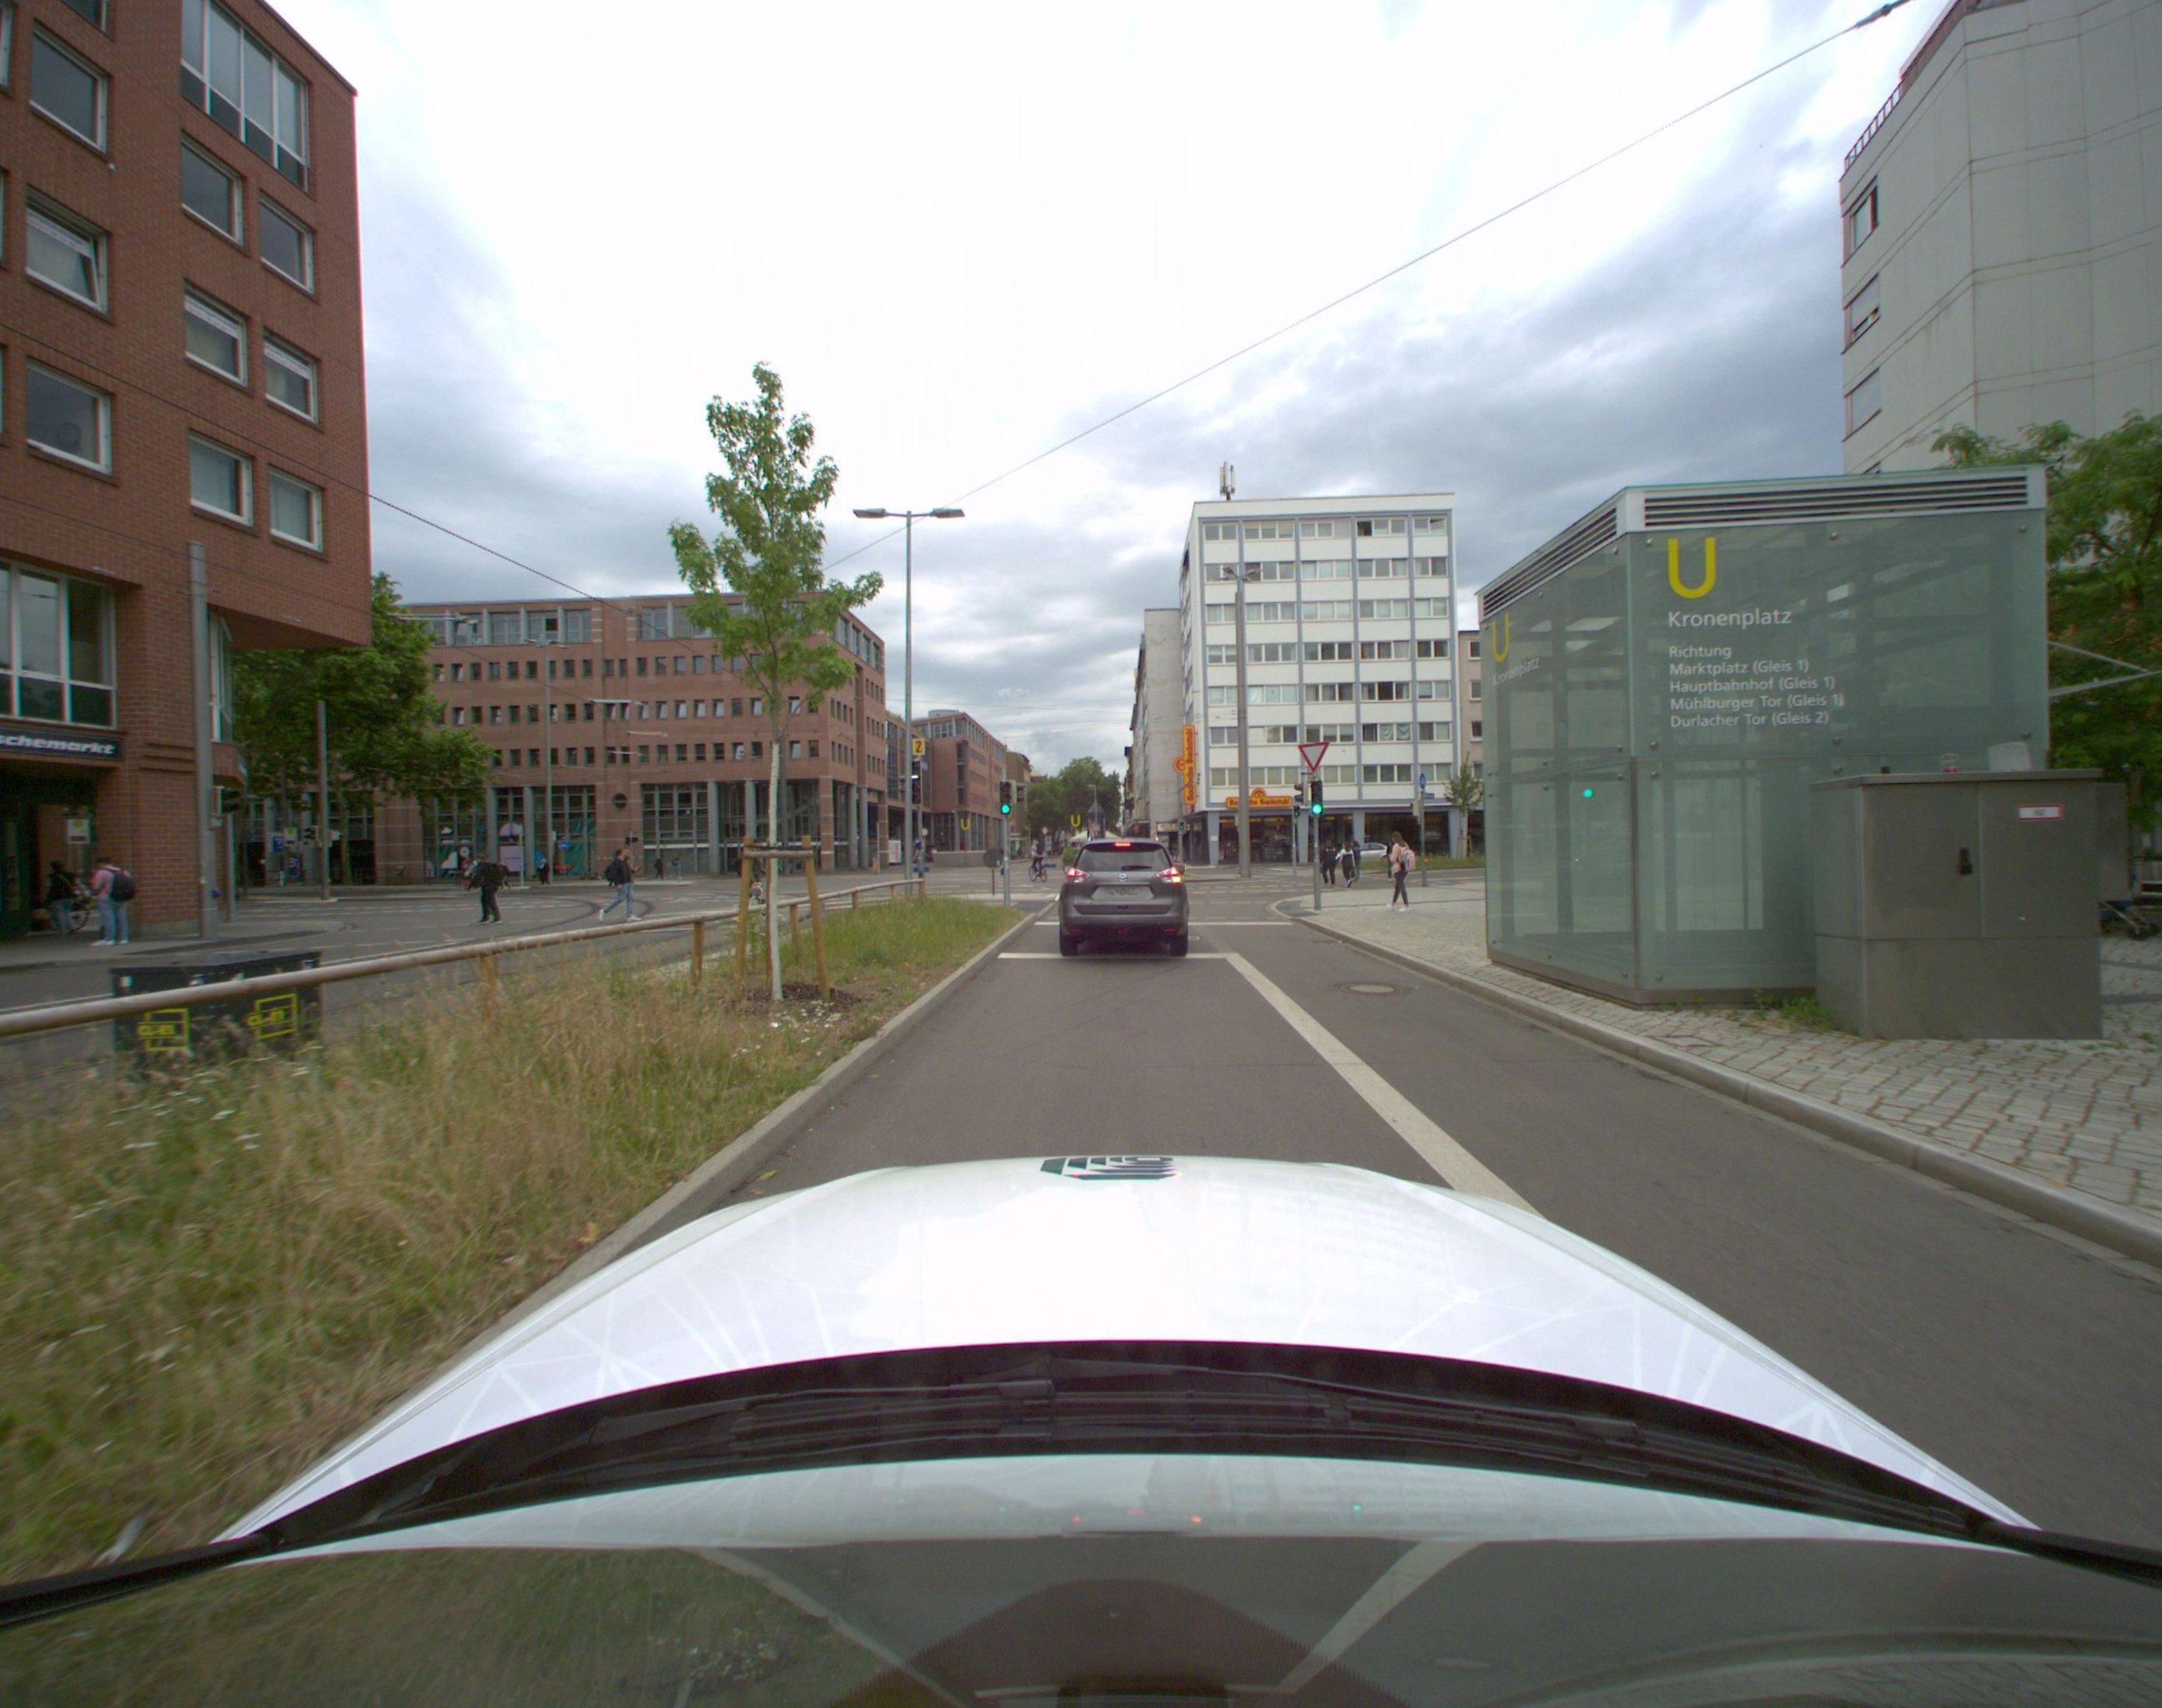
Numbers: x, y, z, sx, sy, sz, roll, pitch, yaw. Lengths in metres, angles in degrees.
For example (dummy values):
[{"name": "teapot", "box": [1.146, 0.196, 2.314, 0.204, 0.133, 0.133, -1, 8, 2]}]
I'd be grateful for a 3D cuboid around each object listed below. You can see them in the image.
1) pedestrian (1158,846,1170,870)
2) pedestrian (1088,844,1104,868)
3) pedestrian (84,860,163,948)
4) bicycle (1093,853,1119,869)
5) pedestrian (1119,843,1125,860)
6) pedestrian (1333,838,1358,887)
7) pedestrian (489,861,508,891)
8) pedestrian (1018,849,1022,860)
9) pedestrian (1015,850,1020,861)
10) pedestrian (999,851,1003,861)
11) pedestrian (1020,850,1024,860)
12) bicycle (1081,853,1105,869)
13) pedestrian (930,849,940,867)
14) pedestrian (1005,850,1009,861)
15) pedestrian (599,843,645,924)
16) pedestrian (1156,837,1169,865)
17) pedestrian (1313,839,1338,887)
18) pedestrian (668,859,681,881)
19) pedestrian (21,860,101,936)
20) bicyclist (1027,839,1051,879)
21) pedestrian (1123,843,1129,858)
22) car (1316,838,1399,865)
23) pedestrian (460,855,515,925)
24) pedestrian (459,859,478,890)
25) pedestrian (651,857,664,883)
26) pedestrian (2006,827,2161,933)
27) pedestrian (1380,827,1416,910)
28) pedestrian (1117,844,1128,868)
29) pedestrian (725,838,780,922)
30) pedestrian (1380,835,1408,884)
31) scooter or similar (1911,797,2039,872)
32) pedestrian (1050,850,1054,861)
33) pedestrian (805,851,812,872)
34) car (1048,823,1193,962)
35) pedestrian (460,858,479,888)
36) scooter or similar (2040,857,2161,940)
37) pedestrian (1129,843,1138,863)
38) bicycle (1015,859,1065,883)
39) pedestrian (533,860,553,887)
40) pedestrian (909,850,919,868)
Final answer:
[{"name": "pedestrian", "box": [5.968, 0.270, 58.455, 0.705, 1.705, 0.737, 0, 0, 14]}, {"name": "pedestrian", "box": [1.088, 0.167, 58.661, 0.918, 1.705, 0.738, 0, 0, 22]}, {"name": "pedestrian", "box": [-18.756, 0.963, 15.972, 0.567, 1.684, 0.798, 0, -1, -2]}, {"name": "bicycle", "box": [1.836, 0.542, 60.080, 1.868, 1.171, 0.529, 0, 0, -12]}, {"name": "pedestrian", "box": [4.190, -0.280, 82.742, 0.640, 1.705, 0.559, 0, 0, 3]}, {"name": "pedestrian", "box": [9.763, 0.309, 30.114, 0.620, 1.761, 0.778, 0, 0, -5]}, {"name": "pedestrian", "box": [-31.144, 1.155, 43.534, 0.571, 1.574, 0.629, 0, -1, -5]}, {"name": "pedestrian", "box": [-8.814, 0.078, 118.225, 0.599, 1.714, 0.654, 0, 0, -5]}, {"name": "pedestrian", "box": [-9.467, 0.238, 121.348, 0.599, 1.714, 0.654, 0, 0, -5]}, {"name": "pedestrian", "box": [-12.571, 0.321, 128.672, 0.599, 1.714, 0.654, 0, 0, -5]}, {"name": "pedestrian", "box": [-9.546, 0.145, 131.688, 0.599, 1.714, 0.654, 0, 0, -5]}, {"name": "bicycle", "box": [0.886, 0.518, 60.497, 1.695, 1.171, 0.436, 0, 0, -9]}, {"name": "pedestrian", "box": [-15.387, 0.394, 85.826, 0.694, 1.841, 0.738, 0, 0, 22]}, {"name": "pedestrian", "box": [-11.733, 0.212, 128.684, 0.599, 1.714, 0.654, 0, 0, -5]}, {"name": "pedestrian", "box": [-10.935, 0.686, 19.430, 0.608, 1.890, 0.799, -1, -1, 0]}, {"name": "pedestrian", "box": [5.447, -0.213, 54.379, 0.712, 1.832, 1.015, 0, 0, -5]}, {"name": "pedestrian", "box": [9.019, 0.317, 30.046, 0.620, 1.761, 0.778, 0, 0, -5]}, {"name": "pedestrian", "box": [-28.044, 1.098, 56.241, 0.744, 1.560, 0.570, 0, -1, -21]}, {"name": "pedestrian", "box": [-22.842, 0.968, 18.256, 0.742, 1.684, 0.798, 0, -1, -2]}, {"name": "bicyclist", "box": [-1.986, 0.229, 38.220, 0.839, 1.812, 0.869, 0, 0, -30]}, {"name": "pedestrian", "box": [5.382, -0.421, 97.339, 0.609, 1.705, 0.620, 0, 0, 3]}, {"name": "car", "box": [17.215, -0.144, 50.787, 4.537, 1.481, 1.748, -2, 0, -1]}, {"name": "pedestrian", "box": [-14.469, 0.863, 19.866, 0.742, 1.684, 0.798, 0, -1, -2]}, {"name": "pedestrian", "box": [-32.596, 1.082, 43.352, 0.571, 1.612, 0.629, 0, -1, -5]}, {"name": "pedestrian", "box": [-28.626, 1.083, 55.037, 0.745, 1.688, 0.570, 0, -1, -24]}, {"name": "pedestrian", "box": [13.157, 0.334, 10.719, 1.038, 1.297, 0.734, -3, 0, 7]}, {"name": "pedestrian", "box": [6.857, 0.299, 17.625, 0.521, 1.761, 0.601, 0, 0, -5]}, {"name": "pedestrian", "box": [3.047, 0.137, 59.576, 0.731, 1.745, 0.662, 0, 0, -6]}, {"name": "pedestrian", "box": [-7.544, 0.591, 18.731, 0.893, 1.890, 0.799, 0, -1, 0]}, {"name": "pedestrian", "box": [12.457, 0.208, 32.482, 0.797, 1.862, 1.157, -3, 0, 12]}, {"name": "scooter or similar", "box": [23.259, -0.499, 21.267, 1.077, 1.806, 2.281, -2, 1, 11]}, {"name": "pedestrian", "box": [-4.360, 0.238, 123.249, 0.599, 1.714, 0.654, 0, 0, -5]}, {"name": "pedestrian", "box": [-20.035, 0.581, 59.818, 0.449, 1.532, 0.519, 0, 0, -15]}, {"name": "car", "box": [0.633, 0.531, 13.006, 1.855, 1.775, 4.570, -2, -1, 3]}, {"name": "pedestrian", "box": [-33.085, 1.039, 44.052, 0.571, 1.612, 0.629, 0, -1, -5]}, {"name": "scooter or similar", "box": [13.046, 0.533, 9.962, 1.571, 0.948, 0.729, -3, 0, 40]}, {"name": "pedestrian", "box": [4.838, -0.110, 74.876, 0.735, 1.821, 0.662, -1, 0, 0]}, {"name": "bicycle", "box": [-1.964, 0.775, 38.229, 0.908, 1.044, 3.245, -1, 0, -32]}, {"name": "pedestrian", "box": [-30.638, 1.108, 46.393, 0.569, 1.560, 0.746, 0, -1, 7]}, {"name": "pedestrian", "box": [-16.547, 0.503, 80.797, 0.737, 1.841, 0.695, 0, 0, -36]}]
